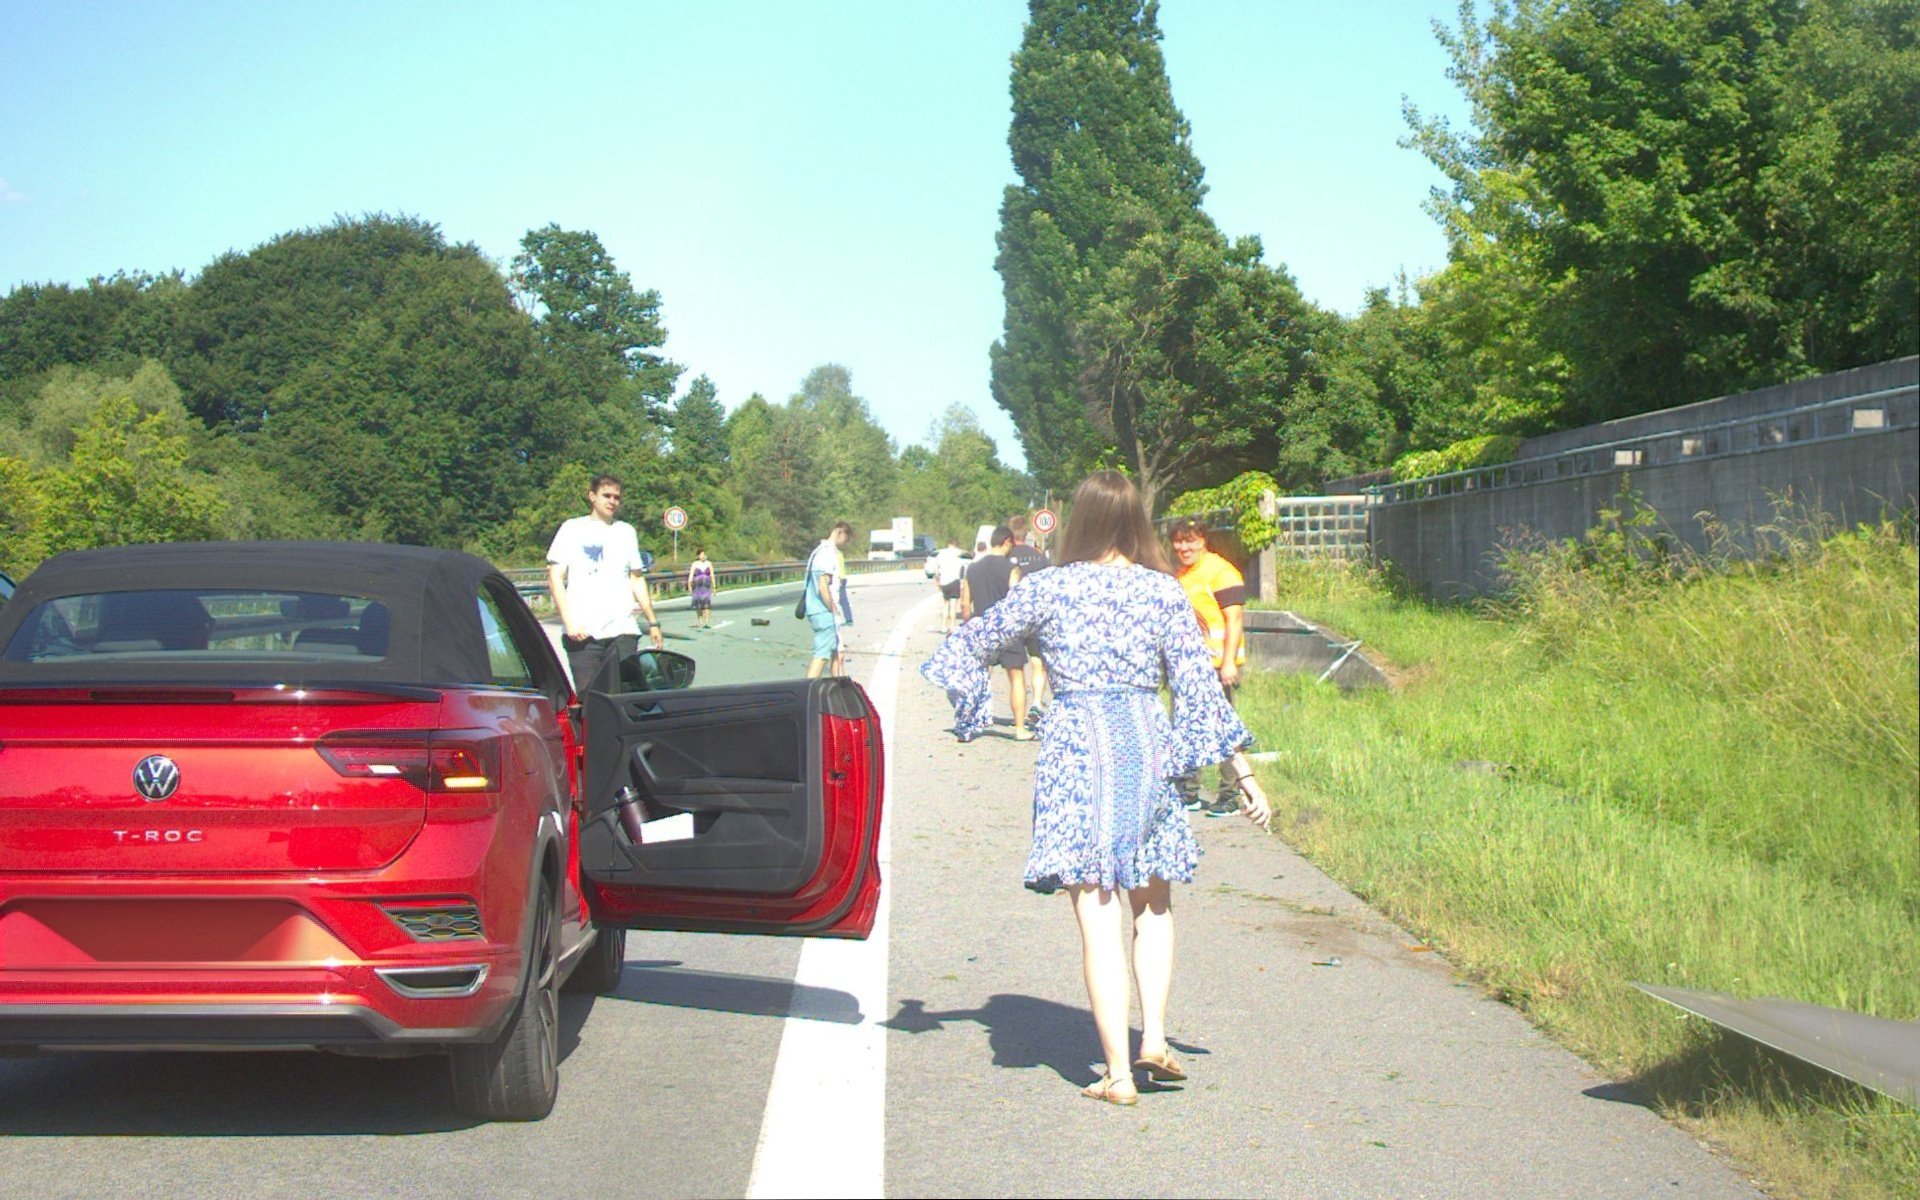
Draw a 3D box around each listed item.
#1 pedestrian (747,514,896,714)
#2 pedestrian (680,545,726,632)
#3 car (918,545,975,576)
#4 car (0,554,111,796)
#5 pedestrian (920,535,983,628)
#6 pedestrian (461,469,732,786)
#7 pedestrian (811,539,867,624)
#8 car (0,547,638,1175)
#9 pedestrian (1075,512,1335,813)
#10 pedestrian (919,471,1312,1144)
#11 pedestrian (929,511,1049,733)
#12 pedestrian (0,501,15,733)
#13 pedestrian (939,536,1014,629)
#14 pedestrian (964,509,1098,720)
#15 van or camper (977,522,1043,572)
[{"bbox_3d":[-1.270,0.122,31.284,1.087,1.782,1.108,0,0,-18],"label":"pedestrian"},{"bbox_3d":[-5.046,-0.223,67.514,0.791,1.683,0.792,1,0,4],"label":"pedestrian"},{"bbox_3d":[-0.652,-1.957,169.079,1.734,1.482,4.207,1,1,15],"label":"car"},{"bbox_3d":[-6.573,0.436,21.200,1.694,1.421,4.334,0,1,-1],"label":"car"},{"bbox_3d":[-0.163,-0.342,62.782,1.113,1.683,0.973,1,0,-1],"label":"pedestrian"},{"bbox_3d":[-2.251,0.159,21.401,1.254,1.906,1.108,-1,1,24],"label":"pedestrian"},{"bbox_3d":[-2.430,-0.382,69.153,1.014,1.683,1.059,1,0,5],"label":"pedestrian"},{"bbox_3d":[-1.981,0.592,10.300,1.732,1.482,4.211,0,1,-1],"label":"car"},{"bbox_3d":[1.381,0.336,19.586,1.274,1.648,0.961,-1,1,-8],"label":"pedestrian"},{"bbox_3d":[0.391,0.515,9.303,0.889,1.689,1.129,-1,1,-5],"label":"pedestrian"},{"bbox_3d":[0.222,0.168,27.079,0.894,1.719,0.754,1,0,-2],"label":"pedestrian"},{"bbox_3d":[-8.285,0.148,27.624,1.065,1.876,1.093,-1,1,-2],"label":"pedestrian"},{"bbox_3d":[0.296,-0.318,62.343,1.007,1.683,0.999,0,0,-27],"label":"pedestrian"},{"bbox_3d":[0.601,0.115,29.057,0.827,1.753,0.813,1,0,30],"label":"pedestrian"},{"bbox_3d":[2.389,-2.476,162.372,1.995,2.308,4.467,1,0,16],"label":"van or camper"}]
